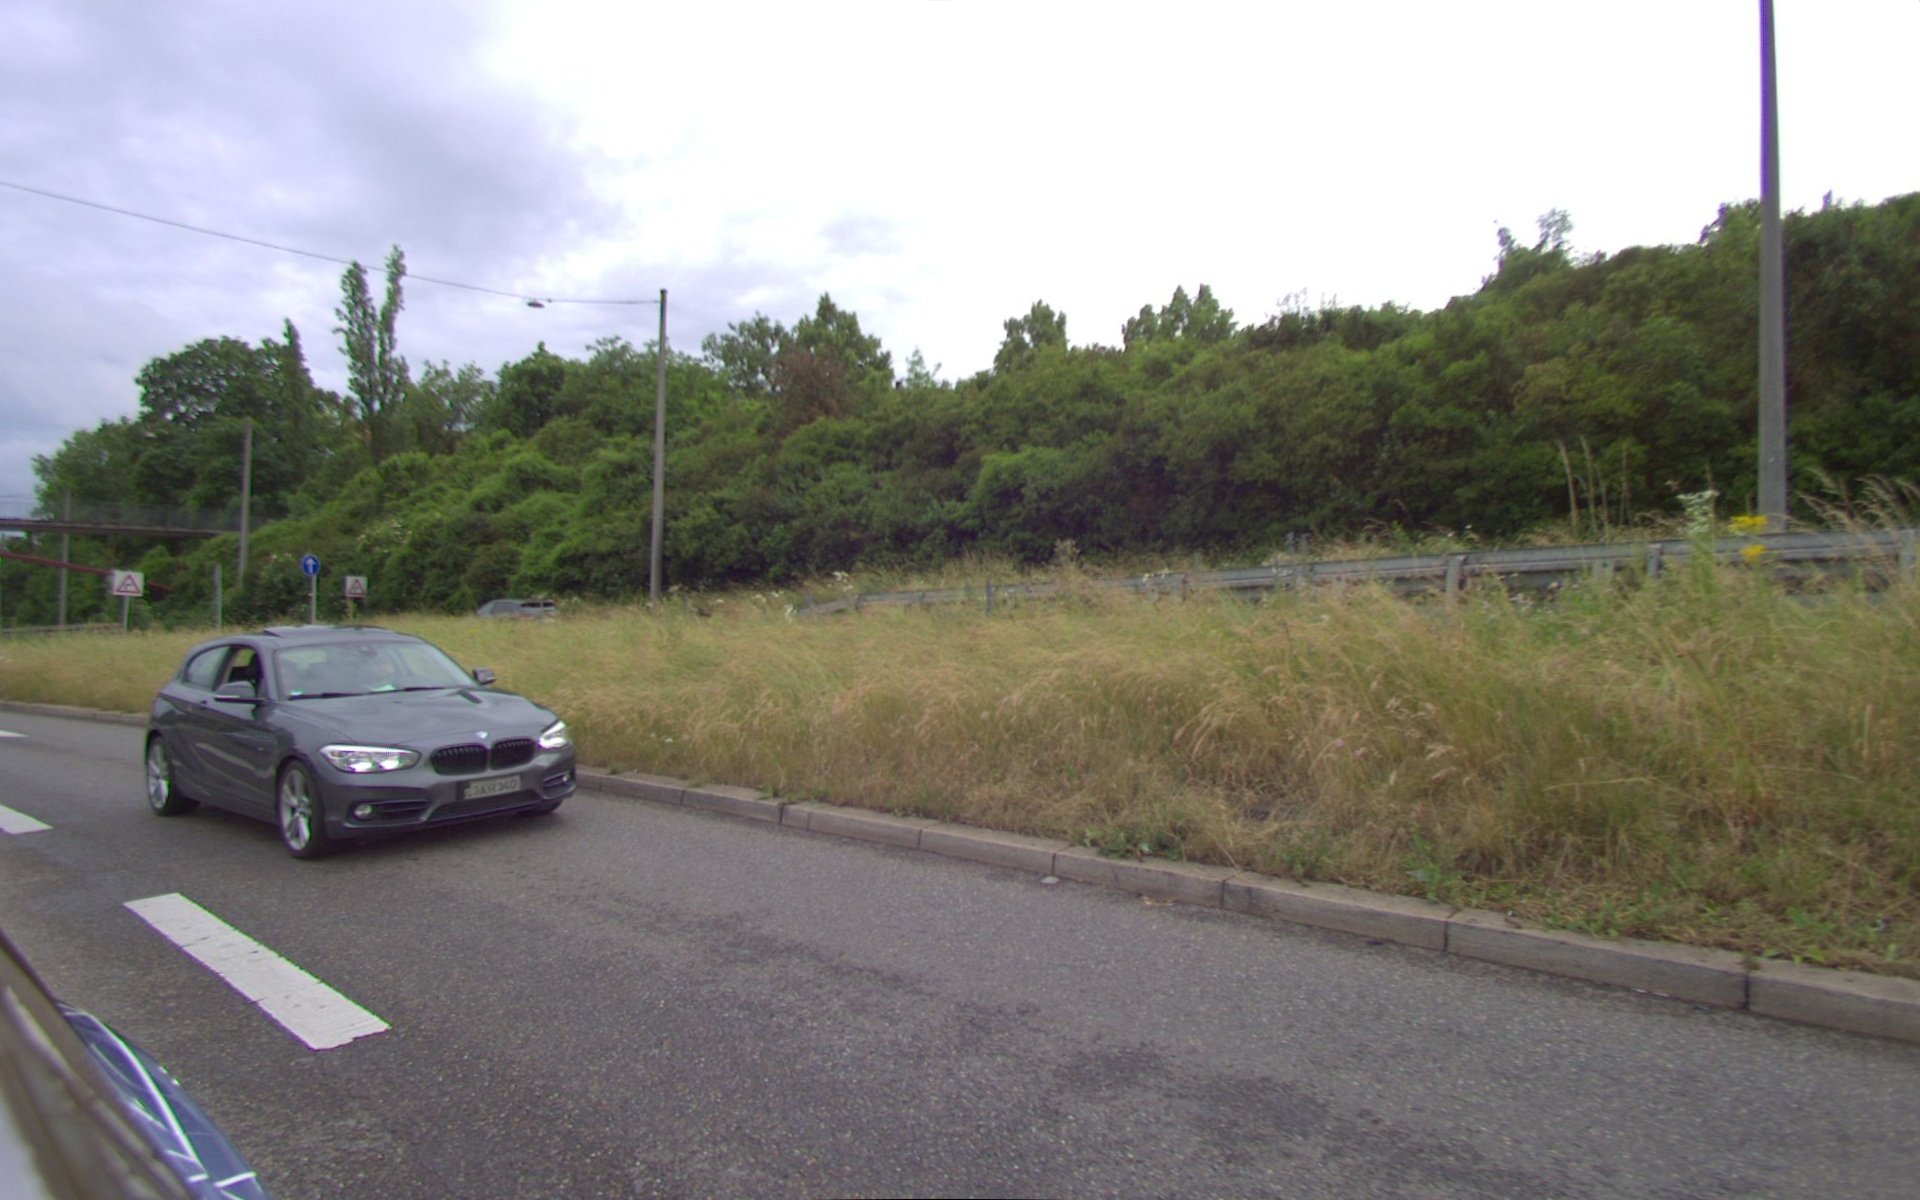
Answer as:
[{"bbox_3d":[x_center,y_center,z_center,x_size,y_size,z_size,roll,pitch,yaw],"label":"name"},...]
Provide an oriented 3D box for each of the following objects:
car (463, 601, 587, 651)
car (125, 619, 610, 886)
[{"bbox_3d":[-13.912,0.788,32.303,4.283,1.464,1.973,-1,0,41],"label":"car"},{"bbox_3d":[-4.597,0.896,7.629,4.106,1.471,1.687,-1,0,36],"label":"car"}]
